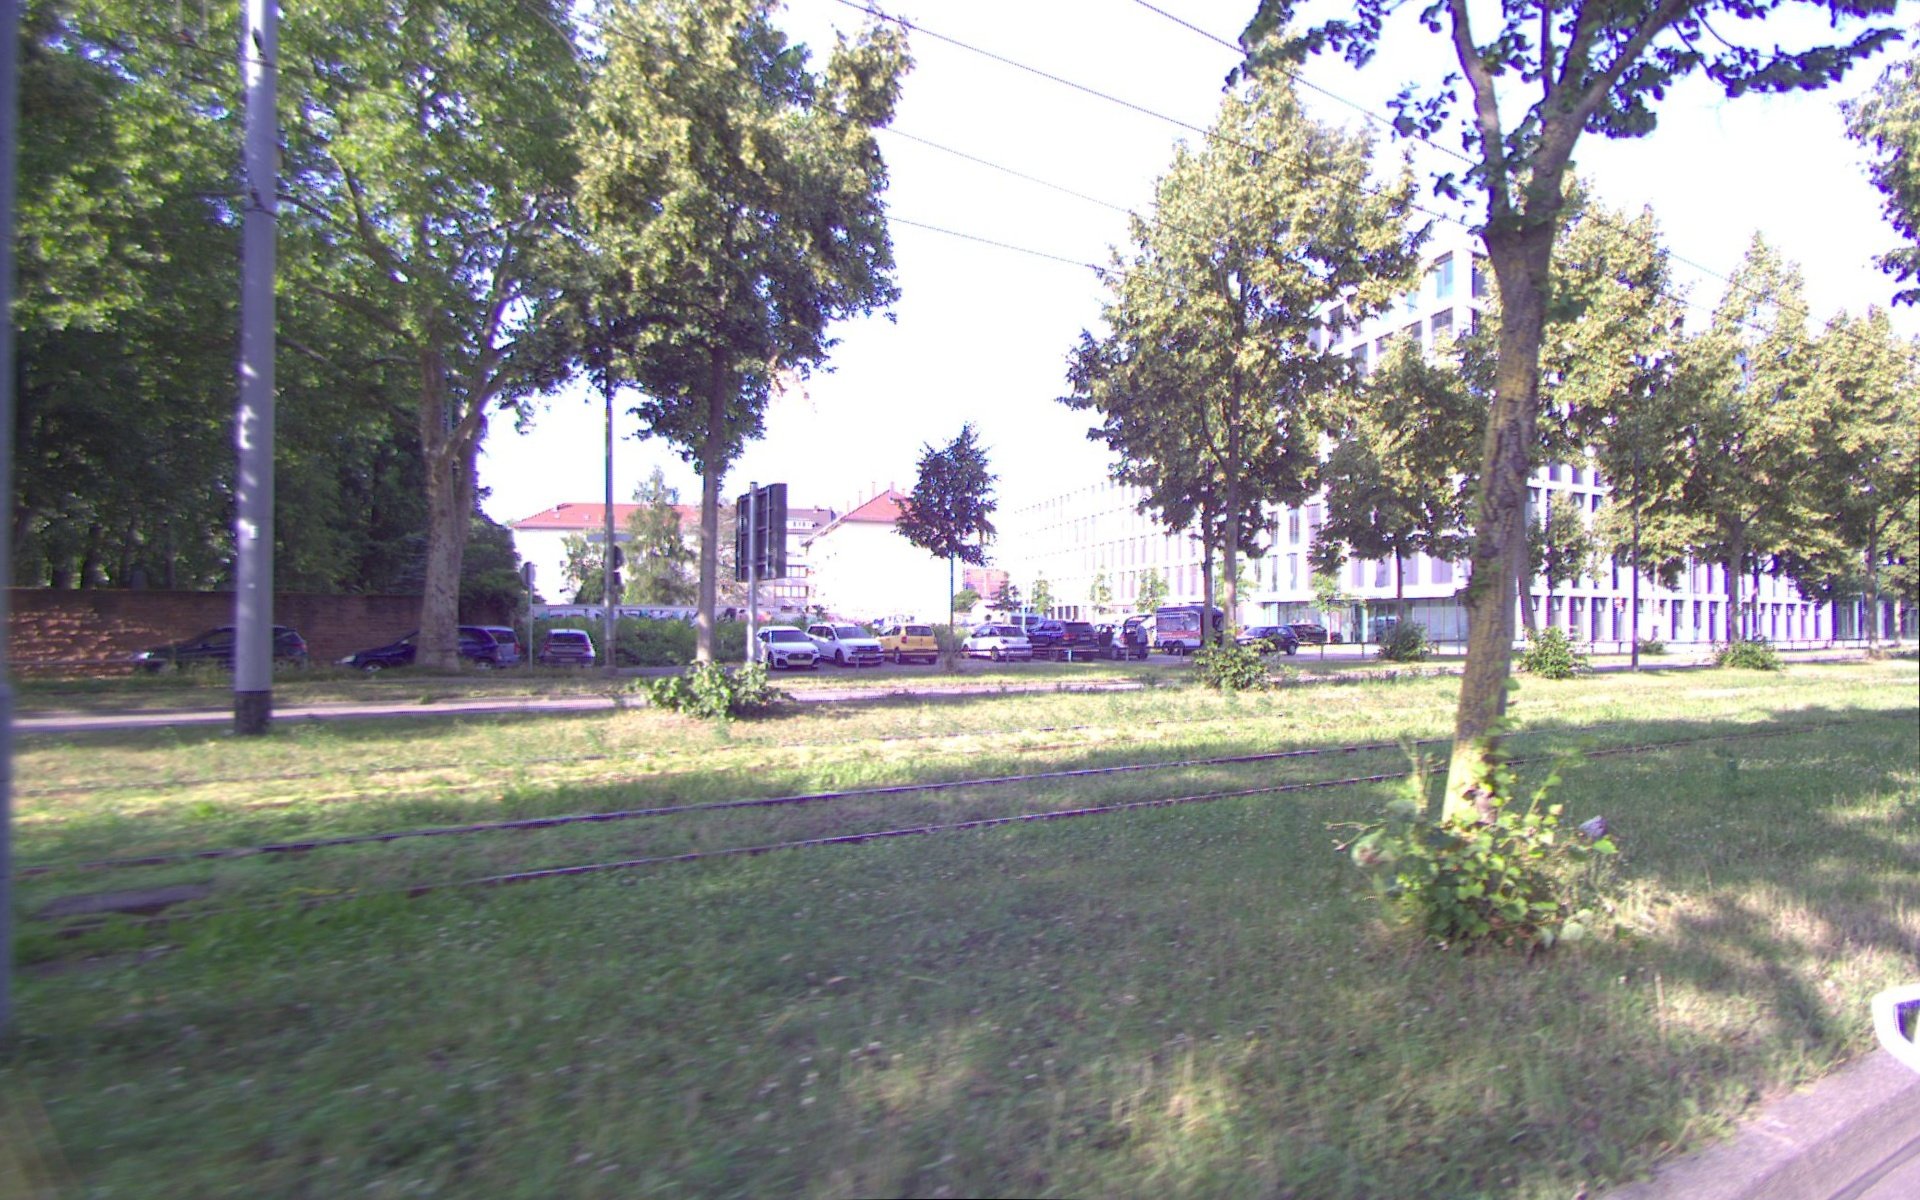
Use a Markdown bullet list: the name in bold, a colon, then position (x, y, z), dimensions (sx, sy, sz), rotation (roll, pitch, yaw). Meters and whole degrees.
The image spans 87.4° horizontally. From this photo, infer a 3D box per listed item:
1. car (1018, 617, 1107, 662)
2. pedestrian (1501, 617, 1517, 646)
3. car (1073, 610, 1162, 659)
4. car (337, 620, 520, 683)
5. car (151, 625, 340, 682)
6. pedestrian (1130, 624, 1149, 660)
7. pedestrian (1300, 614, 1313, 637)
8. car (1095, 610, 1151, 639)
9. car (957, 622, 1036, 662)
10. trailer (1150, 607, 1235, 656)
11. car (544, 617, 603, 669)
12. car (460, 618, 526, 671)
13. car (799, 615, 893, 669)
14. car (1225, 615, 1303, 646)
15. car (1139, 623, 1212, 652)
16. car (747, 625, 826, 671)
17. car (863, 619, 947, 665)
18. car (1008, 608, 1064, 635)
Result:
- **car**: position (4.257, 1.630, 42.326), dimensions (1.736, 1.665, 3.974), rotation (1, 0, -29)
- **pedestrian**: position (33.377, 1.922, 61.072), dimensions (0.683, 1.751, 0.565), rotation (1, 1, -30)
- **car**: position (6.851, 1.474, 44.032), dimensions (1.736, 1.973, 3.974), rotation (1, 0, -29)
- **car**: position (-13.681, 1.276, 25.934), dimensions (3.995, 1.454, 1.670), rotation (1, 0, -35)
- **car**: position (-20.450, 1.482, 28.877), dimensions (4.322, 1.461, 1.772), rotation (1, 0, -38)
- **pedestrian**: position (7.576, 1.767, 42.480), dimensions (0.562, 1.500, 0.519), rotation (1, 1, -31)
- **pedestrian**: position (25.769, 1.890, 74.743), dimensions (0.622, 1.652, 0.591), rotation (1, 4, -6)
- **car**: position (15.544, 2.311, 95.730), dimensions (4.944, 2.566, 1.806), rotation (1, 1, -14)
- **car**: position (1.484, 1.731, 41.831), dimensions (1.705, 1.444, 3.551), rotation (1, 0, -29)
- **trailer**: position (10.944, 1.448, 47.596), dimensions (1.732, 2.081, 4.354), rotation (1, 0, -22)
- **car**: position (-12.924, 1.409, 33.567), dimensions (1.718, 1.506, 3.850), rotation (1, 0, -22)
- **car**: position (-15.243, 1.420, 32.953), dimensions (1.718, 1.506, 3.850), rotation (1, 0, -22)
- **car**: position (-4.431, 1.554, 38.316), dimensions (1.861, 1.758, 5.040), rotation (1, 0, -27)
- **car**: position (14.915, 1.484, 49.195), dimensions (3.722, 1.412, 1.669), rotation (1, 1, -34)
- **car**: position (13.017, 2.289, 60.782), dimensions (3.939, 1.617, 1.846), rotation (1, 0, -20)
- **car**: position (-6.312, 1.698, 36.235), dimensions (1.786, 1.447, 3.633), rotation (1, 0, -27)
- **car**: position (-2.225, 1.634, 39.741), dimensions (1.832, 1.581, 3.971), rotation (1, 0, -27)
- **car**: position (6.555, 1.809, 86.331), dimensions (4.424, 2.187, 1.847), rotation (1, 1, -18)
